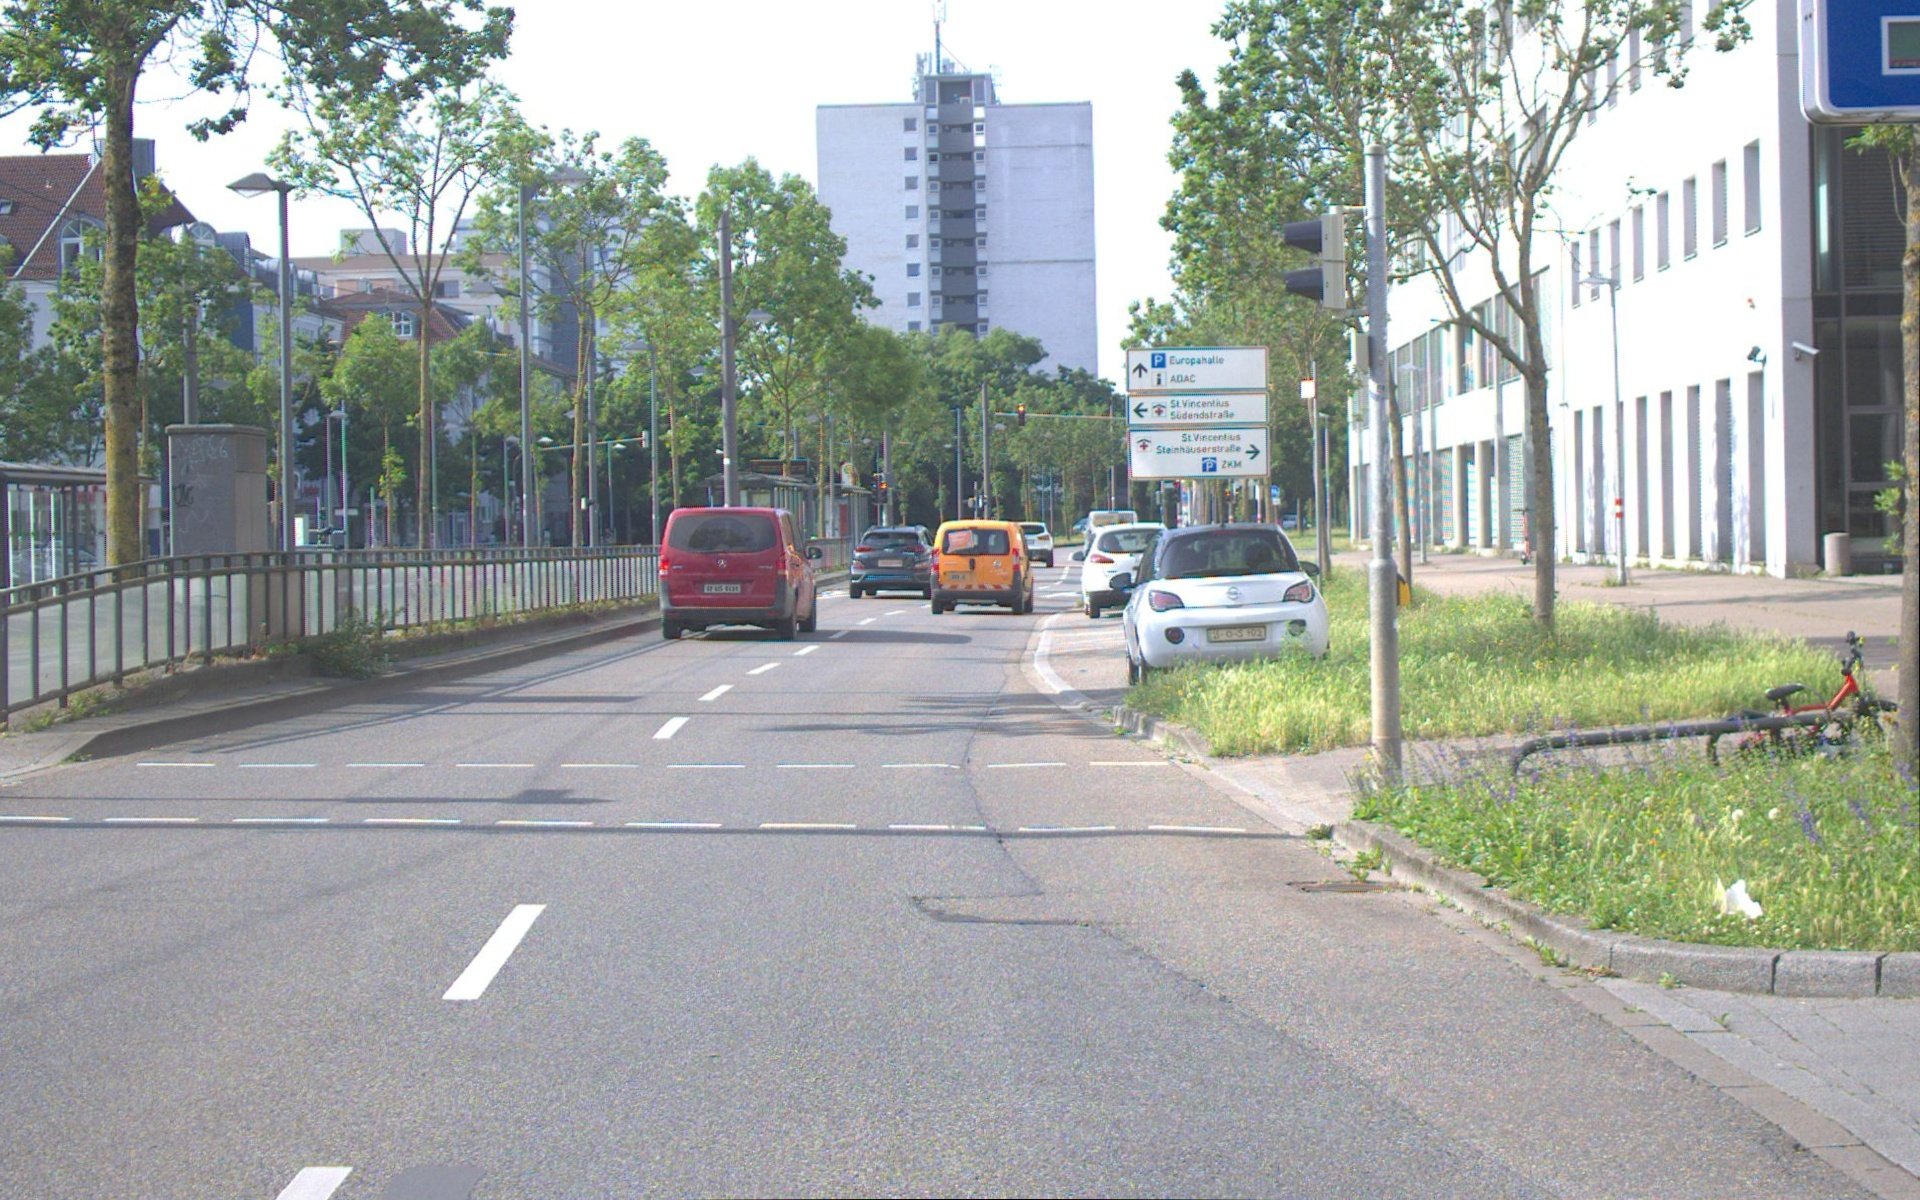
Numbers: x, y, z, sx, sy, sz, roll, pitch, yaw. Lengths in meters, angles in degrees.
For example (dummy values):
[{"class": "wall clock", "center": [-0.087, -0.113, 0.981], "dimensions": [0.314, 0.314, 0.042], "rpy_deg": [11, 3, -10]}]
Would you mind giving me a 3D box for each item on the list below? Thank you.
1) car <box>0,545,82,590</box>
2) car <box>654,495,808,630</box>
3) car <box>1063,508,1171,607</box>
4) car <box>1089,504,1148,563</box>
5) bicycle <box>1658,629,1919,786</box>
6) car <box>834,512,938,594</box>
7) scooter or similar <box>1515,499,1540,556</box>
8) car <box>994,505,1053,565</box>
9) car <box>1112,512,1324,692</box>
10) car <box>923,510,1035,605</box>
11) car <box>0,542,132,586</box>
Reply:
[{"class": "car", "center": [-26.820, -0.919, 96.783], "dimensions": [3.994, 1.240, 1.829], "rpy_deg": [0, 1, 33]}, {"class": "car", "center": [-3.256, -0.561, 49.534], "dimensions": [1.874, 1.847, 4.000], "rpy_deg": [-1, 1, 1]}, {"class": "car", "center": [2.624, -0.726, 57.643], "dimensions": [1.689, 1.521, 3.850], "rpy_deg": [-3, 1, 2]}, {"class": "car", "center": [5.570, -2.339, 121.243], "dimensions": [1.993, 2.007, 4.000], "rpy_deg": [-1, 1, 2]}, {"class": "bicycle", "center": [4.230, 0.543, 17.422], "dimensions": [1.271, 0.630, 0.521], "rpy_deg": [-7, 0, 10]}, {"class": "car", "center": [-1.571, -1.032, 74.455], "dimensions": [1.993, 1.700, 4.000], "rpy_deg": [1, 1, 2]}, {"class": "scooter or similar", "center": [12.169, -1.561, 73.717], "dimensions": [0.462, 1.209, 1.254], "rpy_deg": [-2, 1, 8]}, {"class": "car", "center": [2.233, -2.288, 120.671], "dimensions": [1.993, 2.007, 4.000], "rpy_deg": [-1, 1, 1]}, {"class": "car", "center": [2.315, -0.027, 31.657], "dimensions": [1.720, 1.514, 3.781], "rpy_deg": [-1, 2, 1]}, {"class": "car", "center": [0.386, -0.801, 63.345], "dimensions": [1.876, 1.690, 3.973], "rpy_deg": [-1, 1, 3]}, {"class": "car", "center": [-26.455, -1.063, 100.377], "dimensions": [3.990, 1.240, 1.938], "rpy_deg": [0, 1, 18]}]
